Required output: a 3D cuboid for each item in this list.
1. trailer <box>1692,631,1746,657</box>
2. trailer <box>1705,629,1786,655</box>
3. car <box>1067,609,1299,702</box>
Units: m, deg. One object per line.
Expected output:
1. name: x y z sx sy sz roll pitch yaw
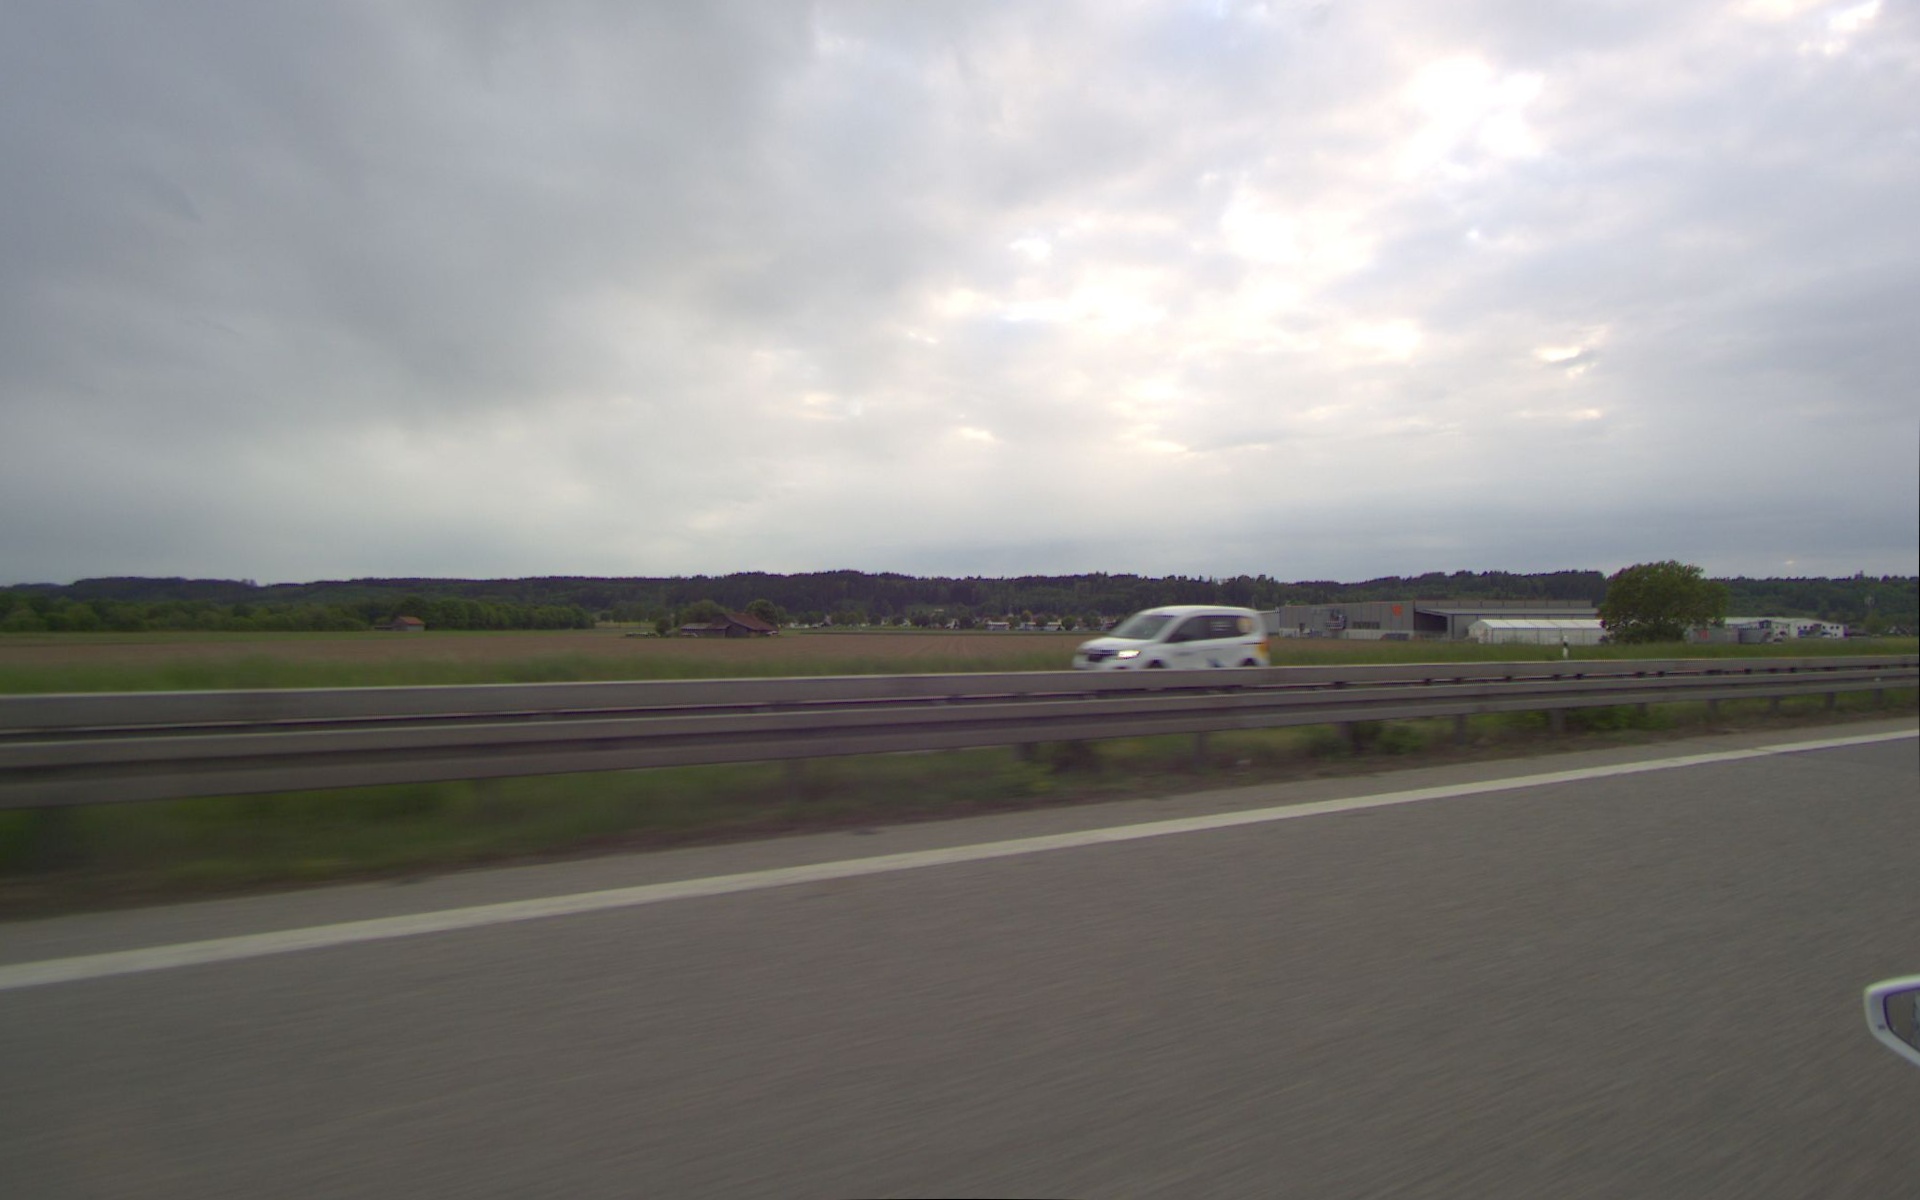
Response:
1. trailer: 158.127 9.207 209.395 3.680 5.329 10.085 1 -3 0
2. trailer: 162.352 8.773 207.999 3.499 5.202 17.040 1 -3 0
3. car: 4.888 1.140 21.809 4.895 1.789 1.983 1 0 -31
